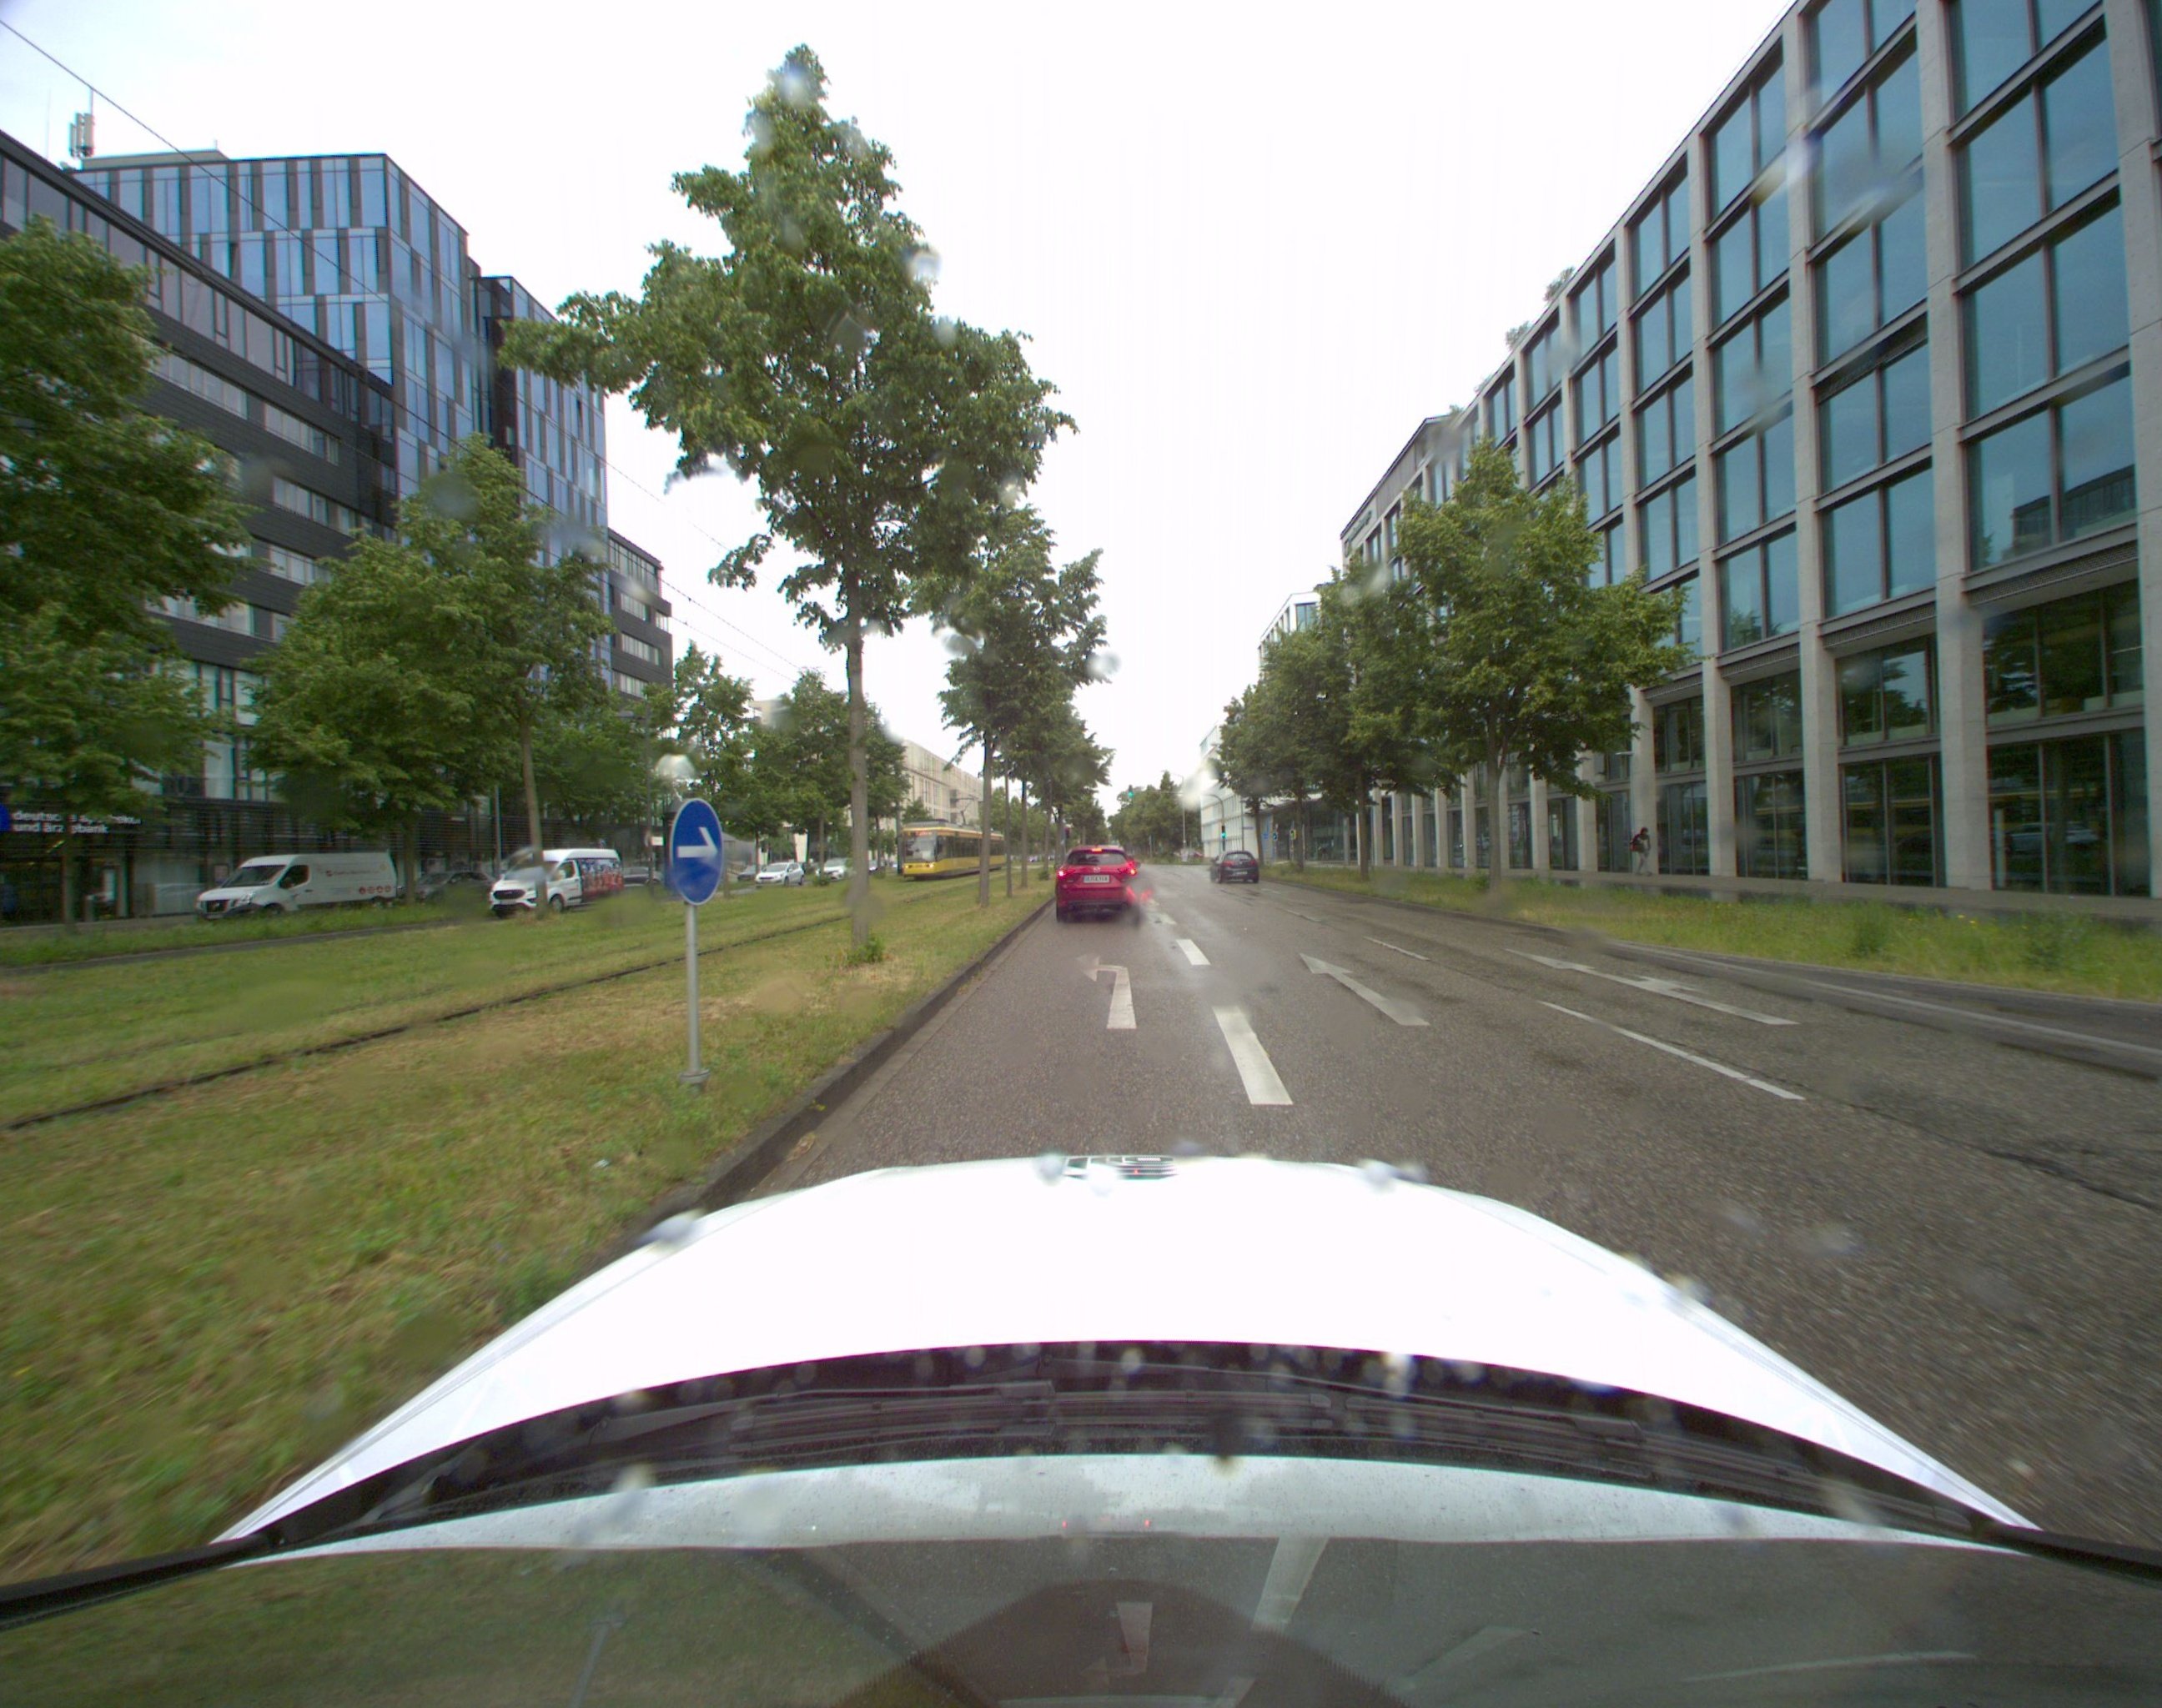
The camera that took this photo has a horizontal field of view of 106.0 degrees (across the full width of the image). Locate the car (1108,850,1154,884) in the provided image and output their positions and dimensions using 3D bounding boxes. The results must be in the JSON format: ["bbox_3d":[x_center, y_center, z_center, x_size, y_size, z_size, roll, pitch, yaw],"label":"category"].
[{"bbox_3d":[2.411,0.573,38.283,1.949,1.465,3.788,-1,0,6],"label":"car"}]

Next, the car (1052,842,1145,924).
[{"bbox_3d":[0.405,0.590,18.976,1.891,1.677,4.001,-1,0,1],"label":"car"}]

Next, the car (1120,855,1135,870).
[{"bbox_3d":[6.704,1.184,117.089,1.986,2.013,4.002,-2,0,2],"label":"car"}]

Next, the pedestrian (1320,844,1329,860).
[{"bbox_3d":[26.460,-0.252,88.401,0.774,1.707,0.683,-1,0,24],"label":"pedestrian"}]

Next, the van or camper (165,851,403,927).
[{"bbox_3d":[-27.612,1.100,28.652,2.424,2.315,5.853,-2,0,2],"label":"van or camper"}]

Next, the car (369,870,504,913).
[{"bbox_3d":[-27.345,1.538,34.785,1.987,1.521,4.607,-2,0,1],"label":"car"}]

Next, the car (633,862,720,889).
[{"bbox_3d":[-26.582,1.395,53.636,4.708,1.521,1.975,-2,0,-44],"label":"car"}]

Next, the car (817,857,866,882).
[{"bbox_3d":[-14.787,0.931,50.480,1.704,1.404,4.002,-2,0,2],"label":"car"}]

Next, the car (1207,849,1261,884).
[{"bbox_3d":[6.886,0.529,36.997,1.737,1.465,3.782,-1,0,1],"label":"car"}]

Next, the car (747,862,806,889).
[{"bbox_3d":[-18.264,1.254,49.036,1.878,1.459,4.002,-2,0,2],"label":"car"}]

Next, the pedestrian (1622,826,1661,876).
[{"bbox_3d":[19.946,-0.113,28.992,0.714,1.714,0.861,-4,0,1],"label":"pedestrian"}]

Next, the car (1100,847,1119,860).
[{"bbox_3d":[3.202,-0.056,91.376,1.961,1.437,4.552,0,0,0],"label":"car"}]

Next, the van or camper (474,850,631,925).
[{"bbox_3d":[-18.788,1.085,29.337,1.902,2.410,5.405,-2,0,2],"label":"van or camper"}]

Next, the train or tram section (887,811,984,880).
[{"bbox_3d":[-8.599,-0.508,50.419,3.117,3.658,13.412,-1,0,2],"label":"train or tram section"}]

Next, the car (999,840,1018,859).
[{"bbox_3d":[-10.046,-0.662,113.261,2.250,2.561,4.651,-1,0,-2],"label":"car"}]

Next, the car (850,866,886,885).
[{"bbox_3d":[-18.246,1.818,69.784,1.878,1.459,4.002,-2,0,2],"label":"car"}]

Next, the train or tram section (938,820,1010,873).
[{"bbox_3d":[-8.160,-0.573,64.568,3.117,3.658,15.070,-1,0,2],"label":"train or tram section"}]
